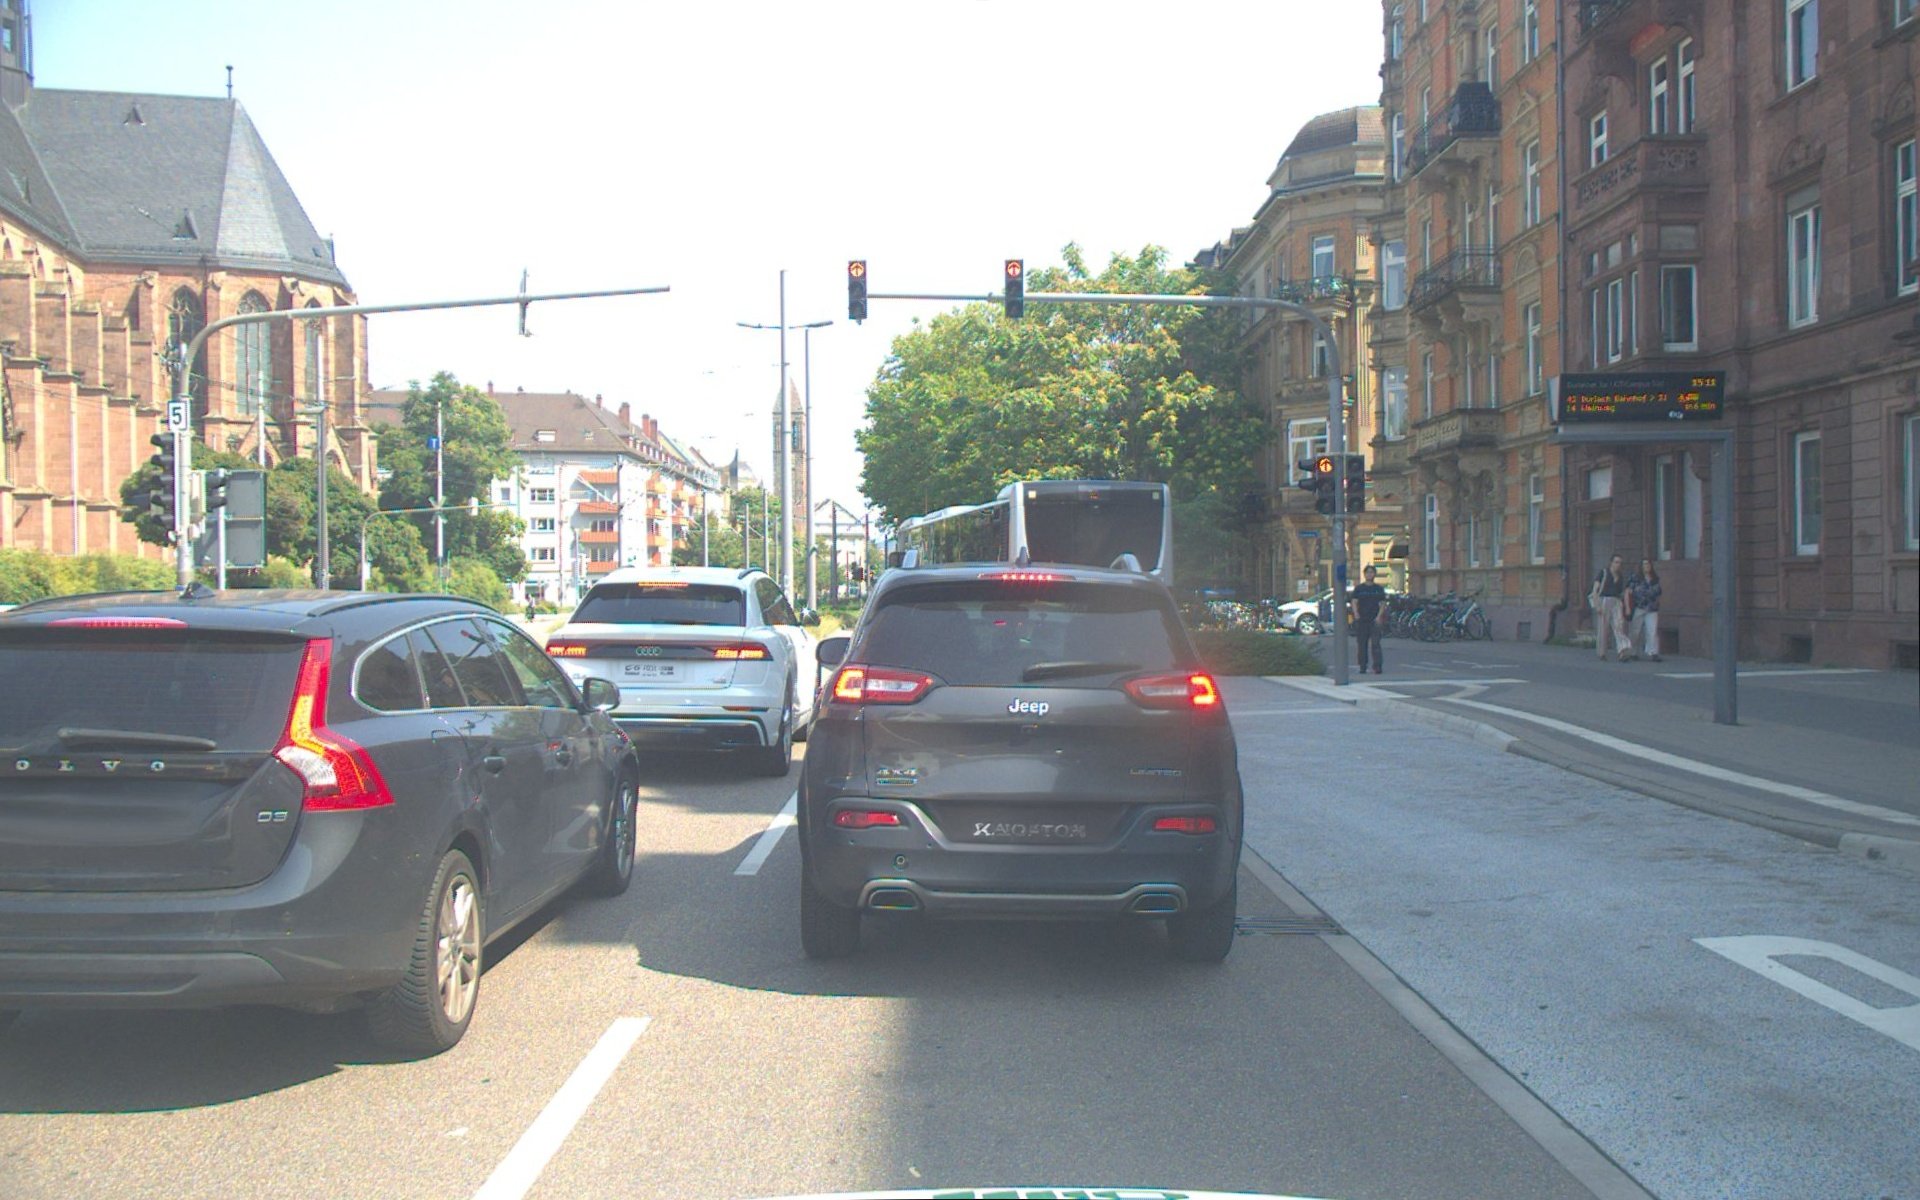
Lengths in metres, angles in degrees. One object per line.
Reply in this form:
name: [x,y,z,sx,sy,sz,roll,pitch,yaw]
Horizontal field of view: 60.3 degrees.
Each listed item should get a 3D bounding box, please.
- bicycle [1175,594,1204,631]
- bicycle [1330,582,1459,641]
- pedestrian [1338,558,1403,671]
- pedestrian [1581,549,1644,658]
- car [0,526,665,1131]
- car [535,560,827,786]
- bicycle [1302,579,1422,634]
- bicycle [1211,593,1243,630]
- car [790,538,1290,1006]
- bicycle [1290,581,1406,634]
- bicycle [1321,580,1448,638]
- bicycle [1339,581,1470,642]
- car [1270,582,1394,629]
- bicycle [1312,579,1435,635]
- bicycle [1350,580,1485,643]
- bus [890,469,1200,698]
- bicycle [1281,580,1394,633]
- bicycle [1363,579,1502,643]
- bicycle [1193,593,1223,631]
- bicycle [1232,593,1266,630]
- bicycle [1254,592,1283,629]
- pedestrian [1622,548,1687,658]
bicycle: [8.123,0.422,58.596,0.636,1.275,3.014,-1,0,1]
bicycle: [10.739,0.272,40.929,2.933,1.395,0.871,-1,0,-2]
pedestrian: [6.639,0.226,26.774,0.879,1.771,0.769,-2,0,7]
pedestrian: [11.018,0.054,27.956,0.700,1.807,0.847,-1,0,-2]
car: [-2.416,0.608,6.662,1.712,1.642,4.308,1,0,-1]
car: [-2.250,0.526,14.475,1.863,1.680,4.308,0,0,-1]
bicycle: [10.667,0.177,43.977,2.943,1.397,0.947,-1,0,-2]
bicycle: [9.456,0.398,58.590,0.717,1.275,3.014,-1,0,2]
car: [0.305,0.608,8.151,1.795,1.680,4.308,1,0,0]
bicycle: [10.612,0.197,45.293,2.943,1.397,0.947,-1,0,-2]
bicycle: [10.725,0.229,41.873,2.943,1.397,0.947,-1,0,-2]
bicycle: [10.729,0.281,39.981,2.933,1.395,0.871,-1,0,-2]
car: [12.943,0.194,57.676,3.858,1.547,1.680,-1,0,-8]
bicycle: [10.720,0.178,42.967,2.943,1.397,0.947,-1,0,-2]
bicycle: [10.780,0.267,39.069,2.933,1.395,0.871,-1,0,-2]
bus: [0.999,-0.206,29.749,2.694,3.161,11.923,-3,0,-11]
bicycle: [10.557,0.175,46.334,2.943,1.397,0.947,-1,0,-2]
bicycle: [10.885,0.243,38.165,2.933,1.395,0.871,-1,0,-2]
bicycle: [8.771,0.408,58.581,0.636,1.275,3.014,-1,0,1]
bicycle: [10.229,0.384,58.616,0.747,1.275,3.014,-1,0,2]
bicycle: [11.011,0.369,59.062,0.644,1.271,2.413,-1,0,2]
pedestrian: [11.732,0.047,27.968,0.700,1.809,0.870,-1,0,-2]
